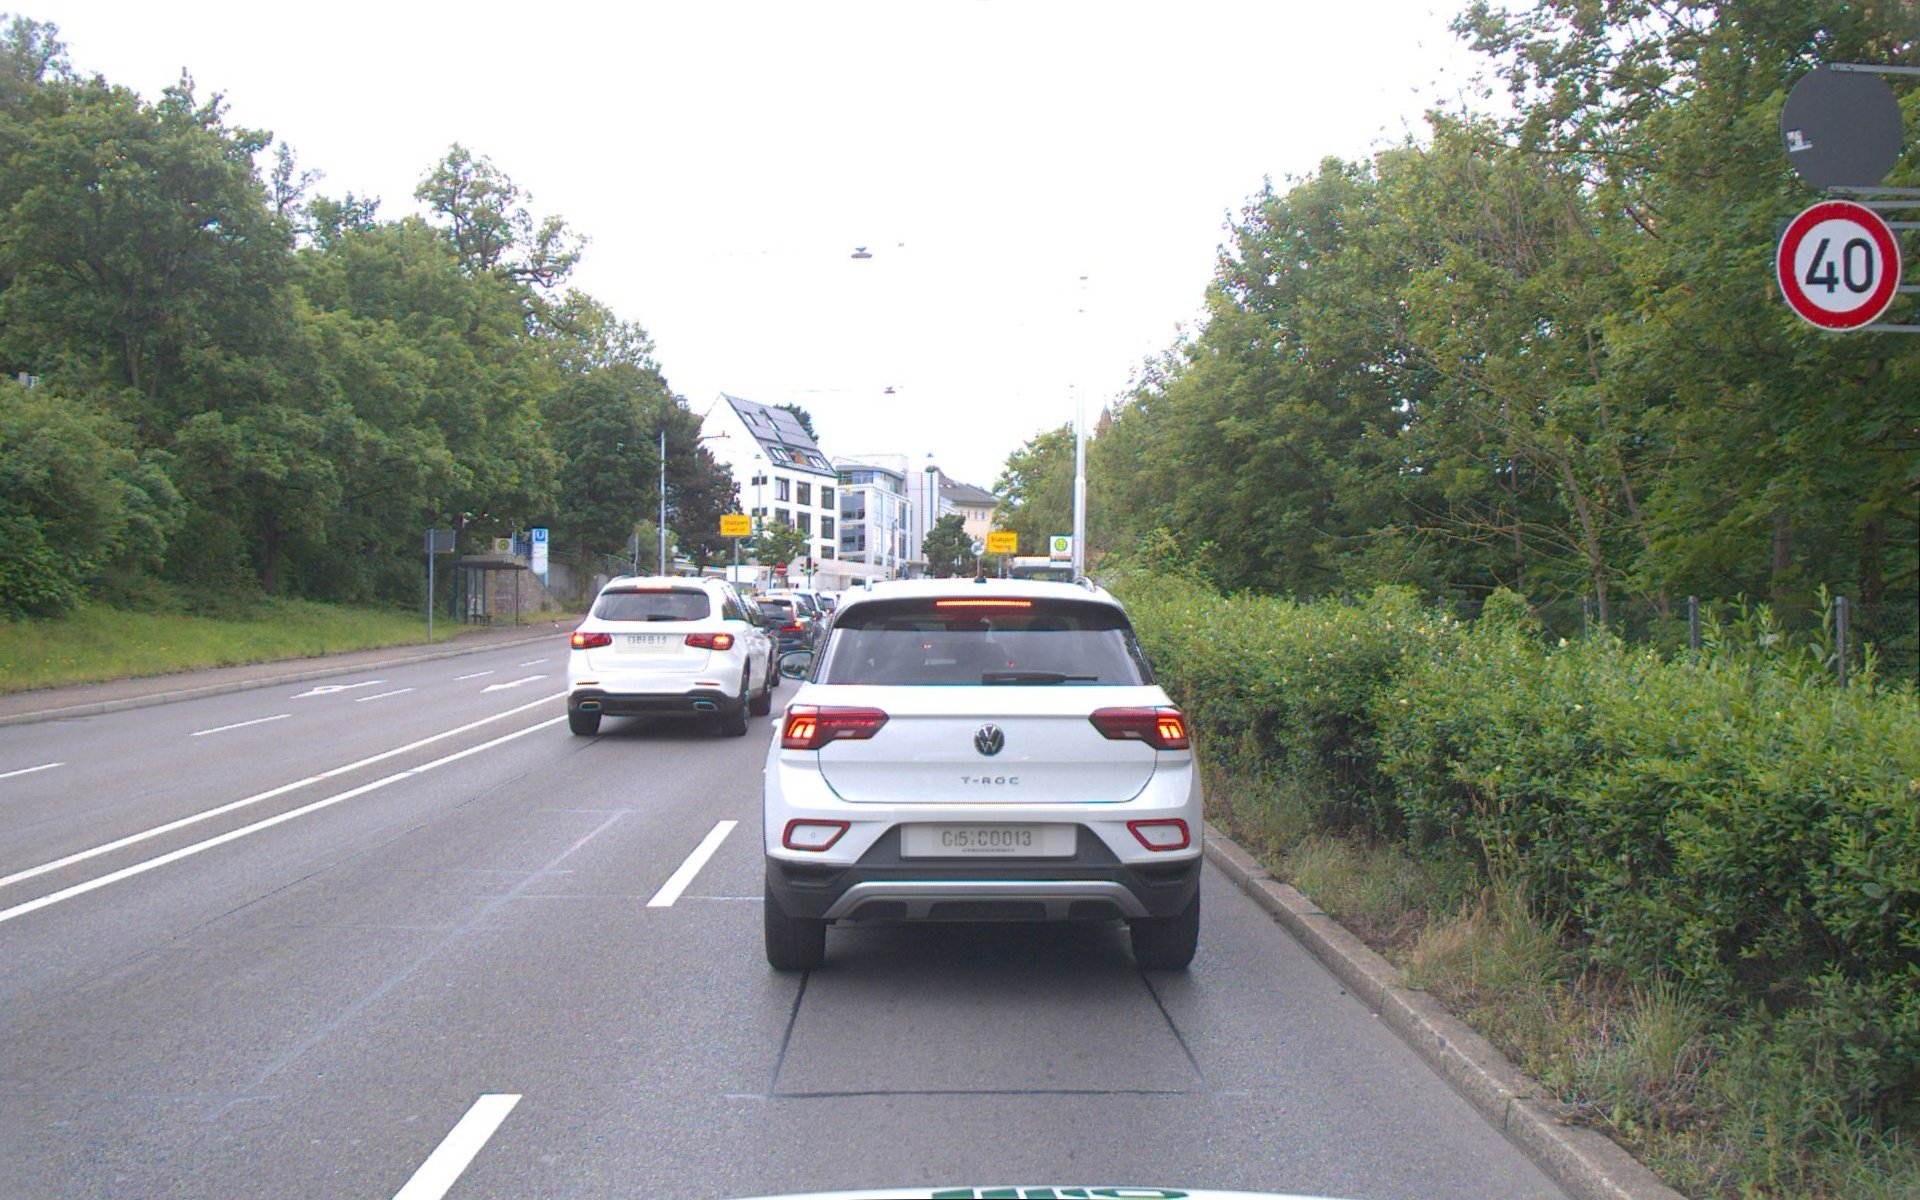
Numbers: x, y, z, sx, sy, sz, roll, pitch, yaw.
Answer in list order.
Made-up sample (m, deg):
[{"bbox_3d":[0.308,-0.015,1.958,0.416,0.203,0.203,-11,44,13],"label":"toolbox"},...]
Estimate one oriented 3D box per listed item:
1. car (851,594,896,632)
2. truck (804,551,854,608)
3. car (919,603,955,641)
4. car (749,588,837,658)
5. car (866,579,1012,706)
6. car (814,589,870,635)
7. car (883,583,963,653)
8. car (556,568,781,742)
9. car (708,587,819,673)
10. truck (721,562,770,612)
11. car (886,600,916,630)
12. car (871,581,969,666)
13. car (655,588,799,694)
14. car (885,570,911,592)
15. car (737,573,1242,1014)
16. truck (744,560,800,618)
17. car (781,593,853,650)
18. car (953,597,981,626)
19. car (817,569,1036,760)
[{"bbox_3d":[-3.660,0.517,70.385,1.792,1.552,3.999,-1,0,-2],"label":"car"},{"bbox_3d":[-6.778,-1.051,86.033,2.315,2.830,4.476,-2,0,-2],"label":"truck"},{"bbox_3d":[-1.313,1.275,94.010,1.953,2.049,3.999,-1,-1,0],"label":"car"},{"bbox_3d":[-3.952,0.520,39.615,1.792,1.552,3.999,-1,0,-2],"label":"car"},{"bbox_3d":[-0.317,0.523,22.615,1.792,1.552,3.999,-1,0,-2],"label":"car"},{"bbox_3d":[-4.207,0.416,59.393,1.792,1.552,3.999,-1,0,-2],"label":"car"},{"bbox_3d":[-0.897,0.400,39.535,1.792,1.552,3.999,-1,0,-2],"label":"car"},{"bbox_3d":[-3.097,0.538,18.375,1.879,1.698,3.999,1,0,-2],"label":"car"},{"bbox_3d":[-3.804,0.538,32.537,1.792,1.552,3.999,-1,0,-2],"label":"car"},{"bbox_3d":[-13.874,-0.794,107.423,2.246,3.104,6.979,-1,0,0],"label":"truck"},{"bbox_3d":[-3.580,0.909,100.555,1.778,1.685,3.927,-2,0,-2],"label":"car"},{"bbox_3d":[-0.798,0.426,32.798,1.792,1.552,3.999,-1,0,-2],"label":"car"},{"bbox_3d":[-3.595,0.592,26.135,1.792,1.523,3.999,-1,0,-2],"label":"car"},{"bbox_3d":[-4.395,-1.339,117.492,1.792,1.552,3.999,-1,0,-2],"label":"car"},{"bbox_3d":[0.052,0.676,7.879,1.792,1.552,3.999,0,0,-2],"label":"car"},{"bbox_3d":[-9.230,-0.549,81.642,2.315,2.754,4.476,-2,0,-2],"label":"truck"},{"bbox_3d":[-4.059,0.580,47.336,1.792,1.552,3.999,-1,0,-2],"label":"car"},{"bbox_3d":[0.511,0.856,122.004,1.953,2.049,3.999,-1,0,-1],"label":"car"},{"bbox_3d":[-0.330,0.526,15.691,1.792,1.552,3.999,-1,0,-2],"label":"car"}]
